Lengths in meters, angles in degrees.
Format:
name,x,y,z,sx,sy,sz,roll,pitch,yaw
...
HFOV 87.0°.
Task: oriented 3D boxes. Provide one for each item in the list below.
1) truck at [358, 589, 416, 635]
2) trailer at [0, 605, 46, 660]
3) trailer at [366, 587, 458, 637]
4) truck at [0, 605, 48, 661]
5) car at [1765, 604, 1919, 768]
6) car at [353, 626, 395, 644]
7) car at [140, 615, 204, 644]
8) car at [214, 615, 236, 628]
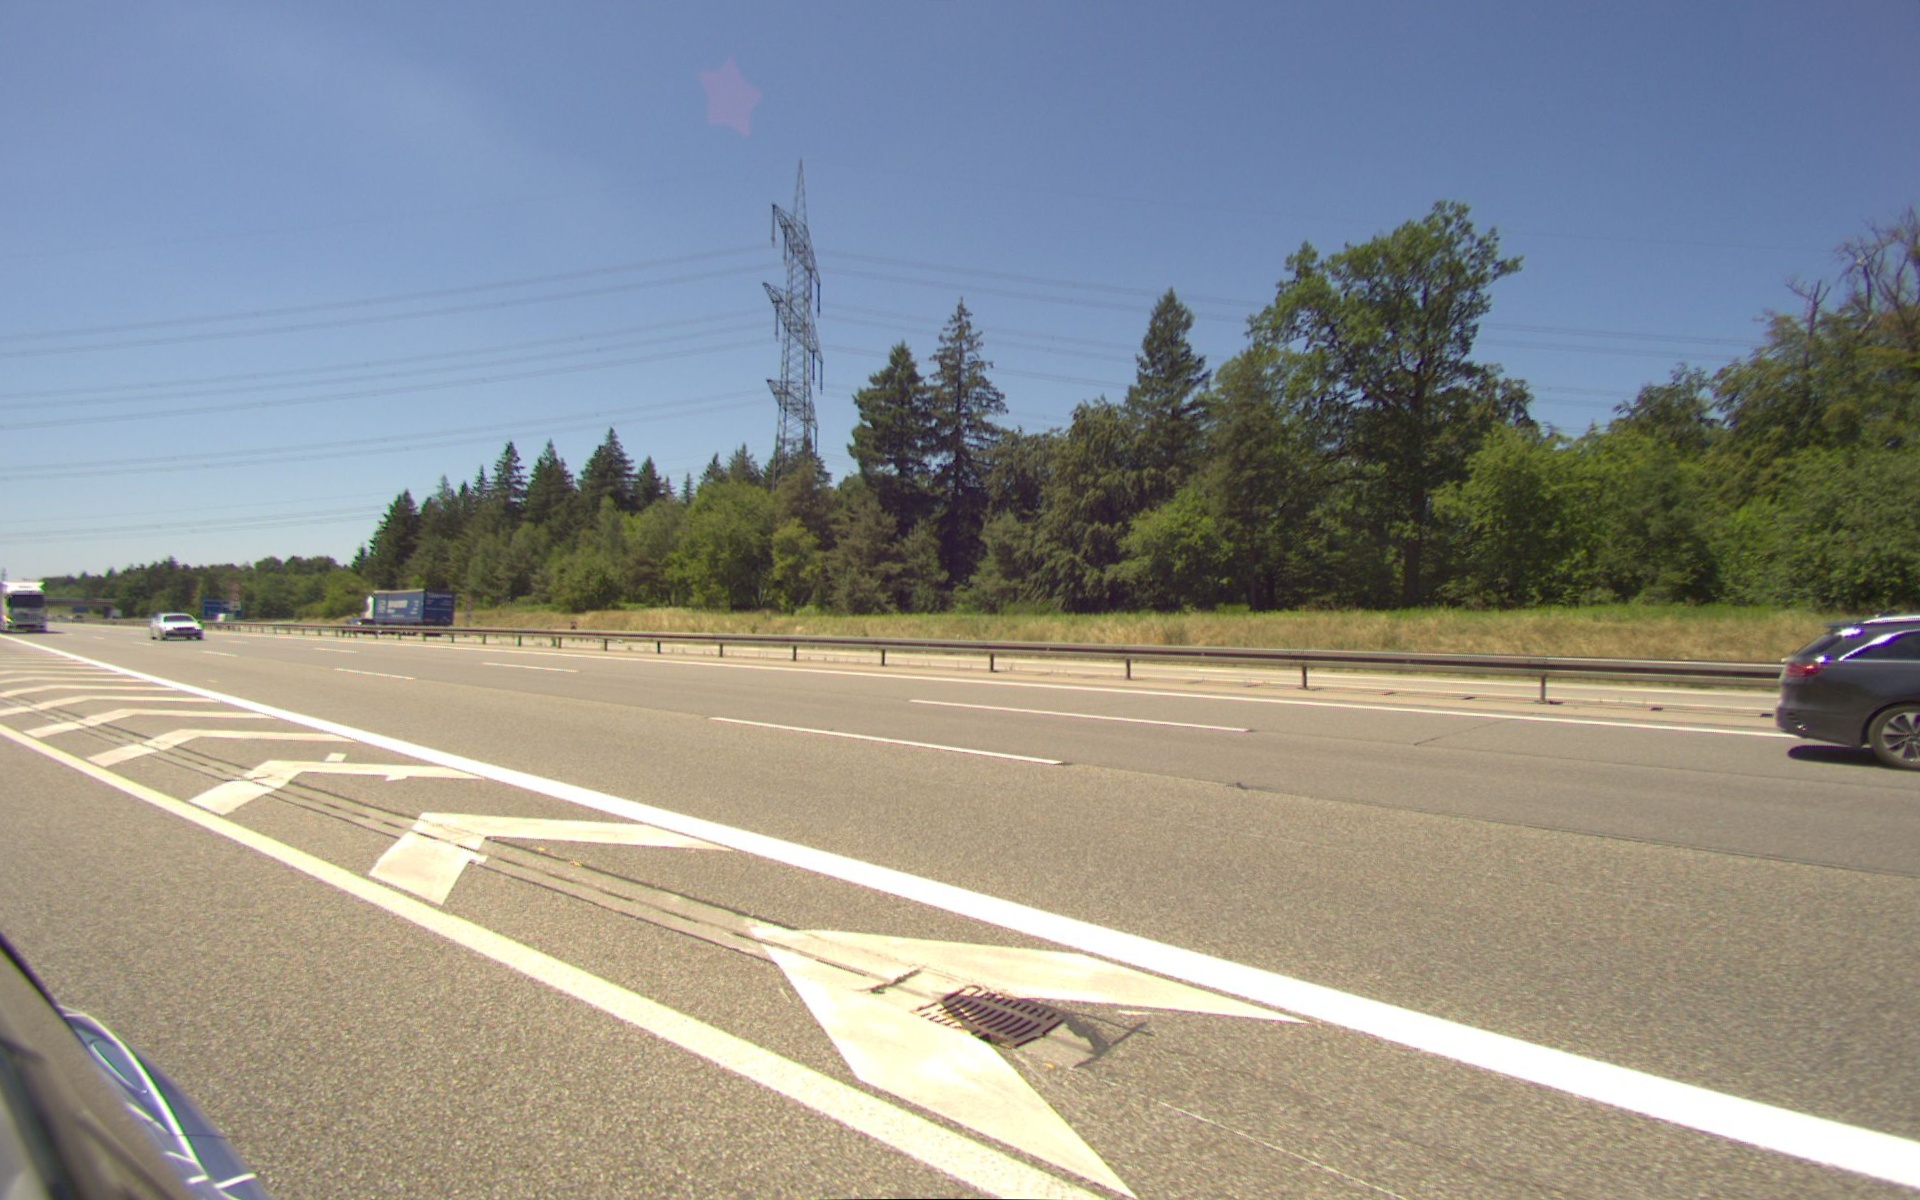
name,x,y,z,sx,sy,sz,roll,pitch,yaw
truck,-54.527,1.178,96.228,5.725,4.204,3.166,-1,-3,44
trailer,-76.074,2.622,81.771,2.940,4.174,11.705,2,-2,-44
trailer,-49.727,1.130,91.568,13.988,4.204,3.167,-1,-3,44
truck,-71.952,2.522,77.479,2.938,4.174,5.353,2,-2,-44
car,10.125,0.740,8.605,5.000,1.442,1.812,-1,-1,44
car,-49.279,2.944,85.084,4.433,1.413,1.742,-1,-3,43
car,-43.924,1.617,56.370,5.405,1.515,1.942,0,-1,43
car,-144.191,4.201,198.503,6.458,2.534,2.279,-1,-2,44
